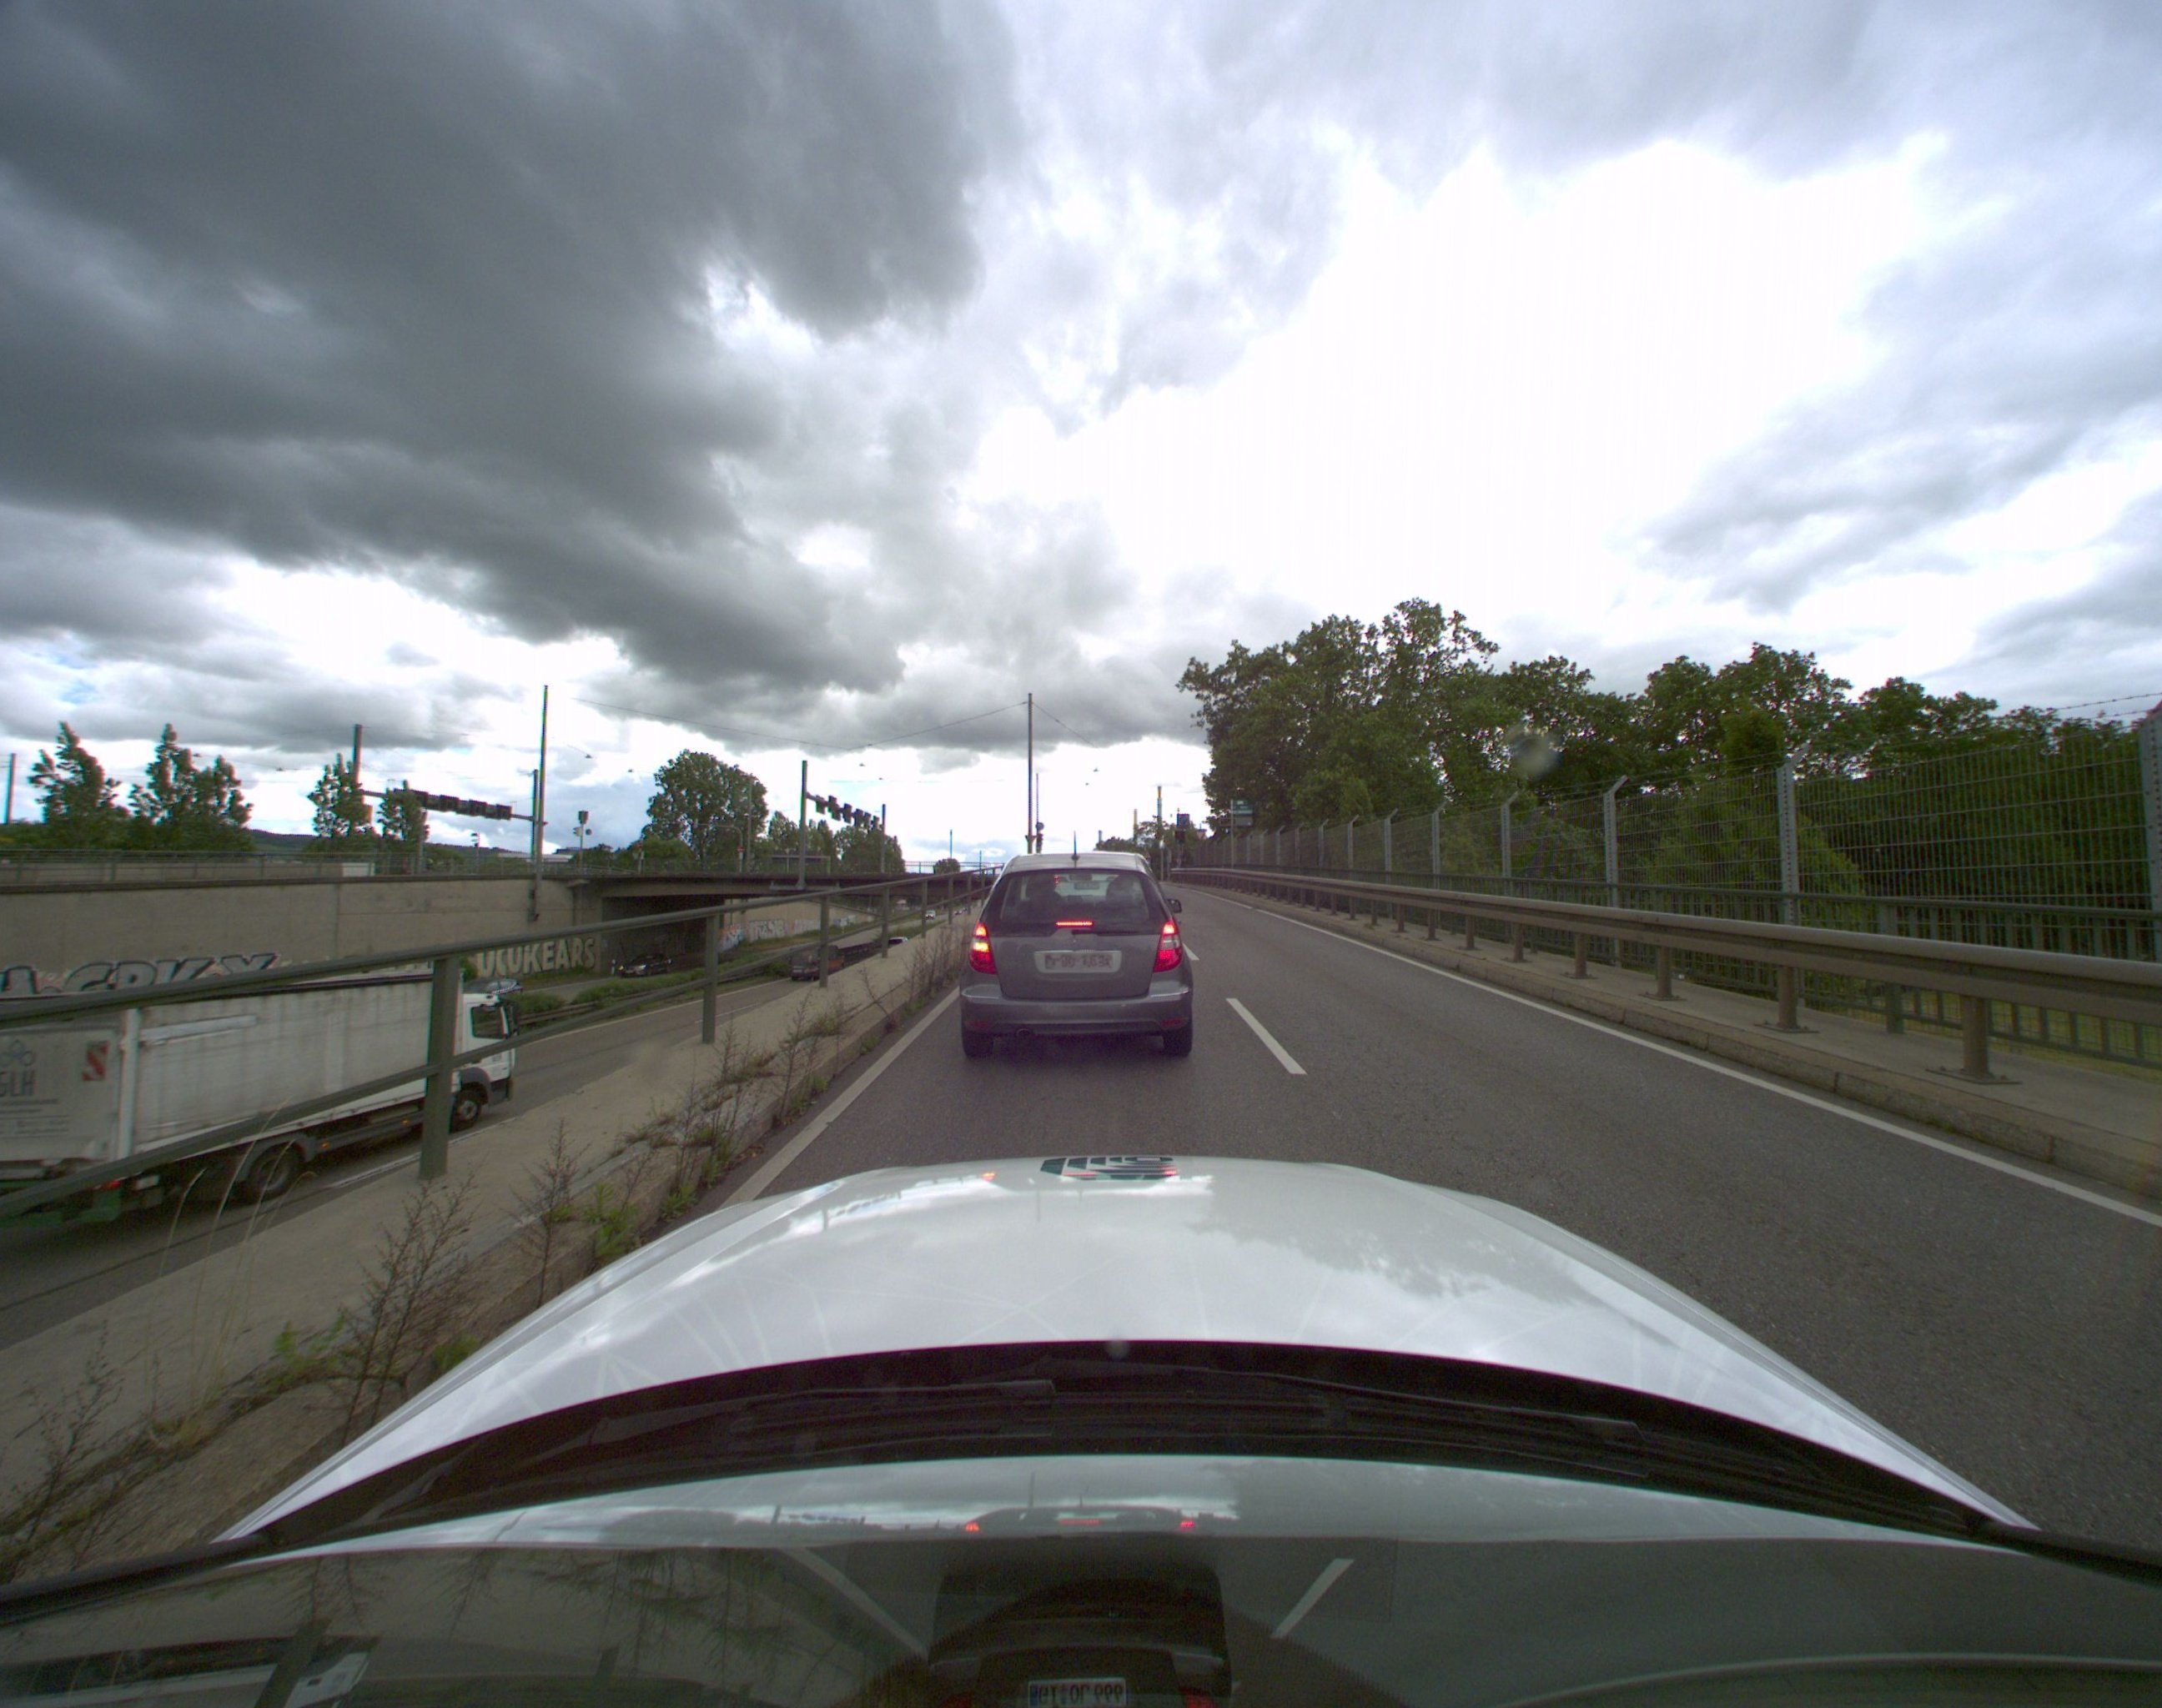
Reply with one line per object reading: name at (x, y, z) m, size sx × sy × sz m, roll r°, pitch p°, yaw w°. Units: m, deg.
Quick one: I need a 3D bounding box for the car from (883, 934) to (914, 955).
car at (-16.098, 7.977, 71.887) m, size 1.893 × 1.622 × 4.174 m, roll 0°, pitch -3°, yaw -2°

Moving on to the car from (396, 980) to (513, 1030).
car at (-25.309, 6.075, 33.076) m, size 1.658 × 1.501 × 3.858 m, roll -2°, pitch -4°, yaw 2°

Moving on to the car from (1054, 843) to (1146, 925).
car at (0.393, 0.642, 19.384) m, size 1.925 × 1.717 × 4.404 m, roll 0°, pitch -1°, yaw 0°

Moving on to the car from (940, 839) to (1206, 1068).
car at (0.005, 0.702, 7.688) m, size 1.851 × 1.588 × 4.002 m, roll 0°, pitch 0°, yaw 2°

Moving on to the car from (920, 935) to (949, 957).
car at (-12.712, 7.989, 71.039) m, size 1.893 × 1.622 × 4.174 m, roll 0°, pitch -3°, yaw -2°

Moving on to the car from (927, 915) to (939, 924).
car at (-36.389, 16.116, 200.350) m, size 1.988 × 2.067 × 5.172 m, roll 0°, pitch -3°, yaw -2°

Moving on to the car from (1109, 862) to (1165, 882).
car at (4.603, 1.425, 67.012) m, size 4.361 × 1.576 × 1.820 m, roll 0°, pitch -1°, yaw -32°

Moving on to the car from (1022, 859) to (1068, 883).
car at (-2.957, 1.354, 65.902) m, size 2.006 × 1.870 × 4.173 m, roll 0°, pitch -1°, yaw -30°

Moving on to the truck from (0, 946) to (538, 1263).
truck at (-12.963, 3.419, 13.454) m, size 2.736 × 3.293 × 7.442 m, roll -1°, pitch -3°, yaw 2°

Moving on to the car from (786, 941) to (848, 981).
car at (-15.602, 6.314, 48.409) m, size 1.891 × 2.003 × 4.959 m, roll -1°, pitch -3°, yaw 2°

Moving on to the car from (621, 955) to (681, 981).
car at (-28.536, 7.538, 54.152) m, size 1.705 × 1.376 × 4.110 m, roll -2°, pitch -4°, yaw 1°

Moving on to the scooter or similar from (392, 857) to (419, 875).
scooter or similar at (-42.085, 0.734, 50.774) m, size 0.542 × 1.094 × 1.414 m, roll -1°, pitch -2°, yaw -4°
